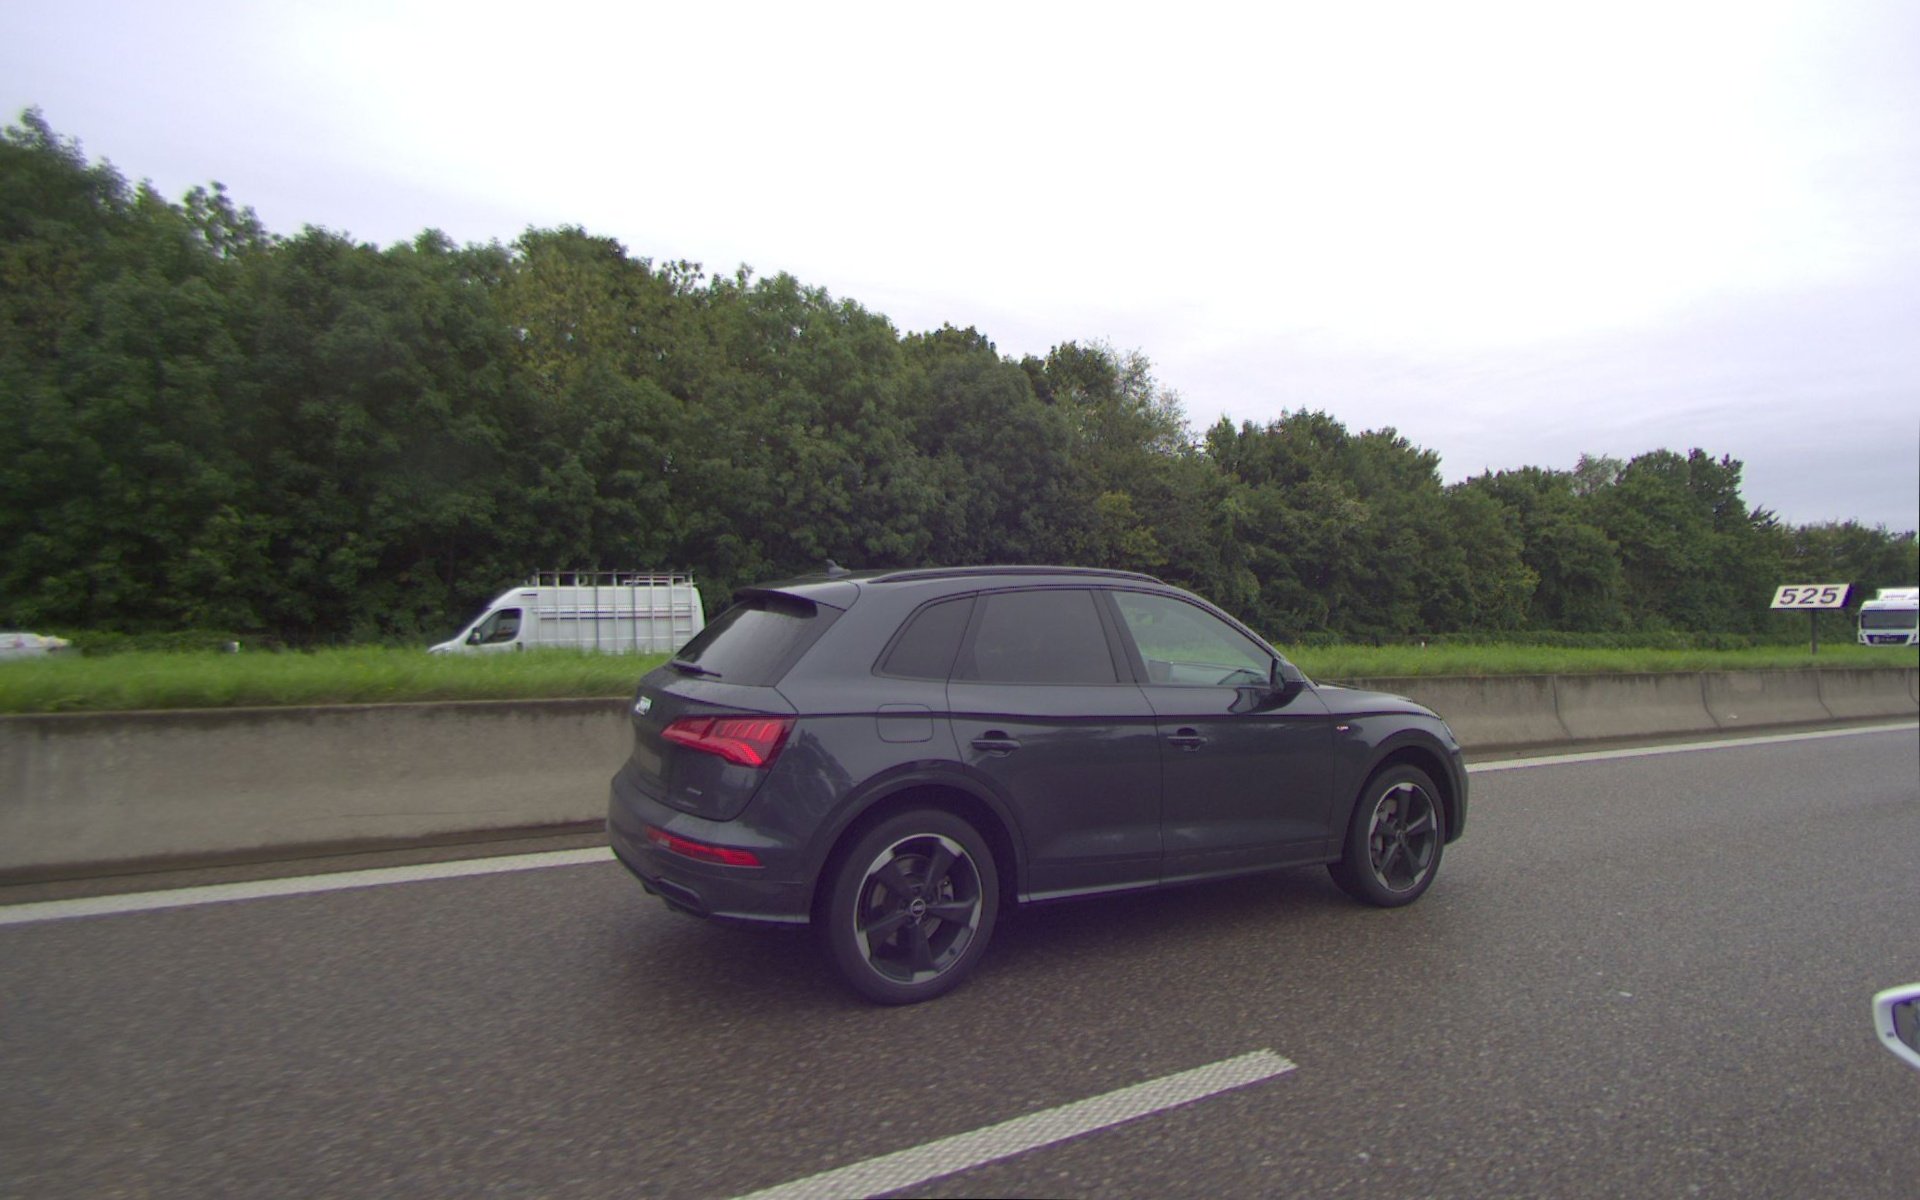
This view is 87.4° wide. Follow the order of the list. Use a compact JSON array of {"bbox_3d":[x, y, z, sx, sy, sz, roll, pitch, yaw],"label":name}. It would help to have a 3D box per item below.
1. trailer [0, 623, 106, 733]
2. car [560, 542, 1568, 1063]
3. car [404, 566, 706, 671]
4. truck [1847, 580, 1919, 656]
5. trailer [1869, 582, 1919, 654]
[{"bbox_3d":[-20.174,1.487,19.486,5.112,2.040,1.985,2,0,-28],"label":"trailer"},{"bbox_3d":[0.755,0.691,5.272,5.063,1.621,1.984,2,0,-30],"label":"car"},{"bbox_3d":[-8.979,0.445,22.489,5.993,2.112,2.186,2,0,-29],"label":"car"},{"bbox_3d":[47.754,0.934,50.563,6.682,3.598,2.653,2,0,-31],"label":"truck"},{"bbox_3d":[52.351,1.057,53.225,11.729,3.587,2.673,2,0,-30],"label":"trailer"}]
